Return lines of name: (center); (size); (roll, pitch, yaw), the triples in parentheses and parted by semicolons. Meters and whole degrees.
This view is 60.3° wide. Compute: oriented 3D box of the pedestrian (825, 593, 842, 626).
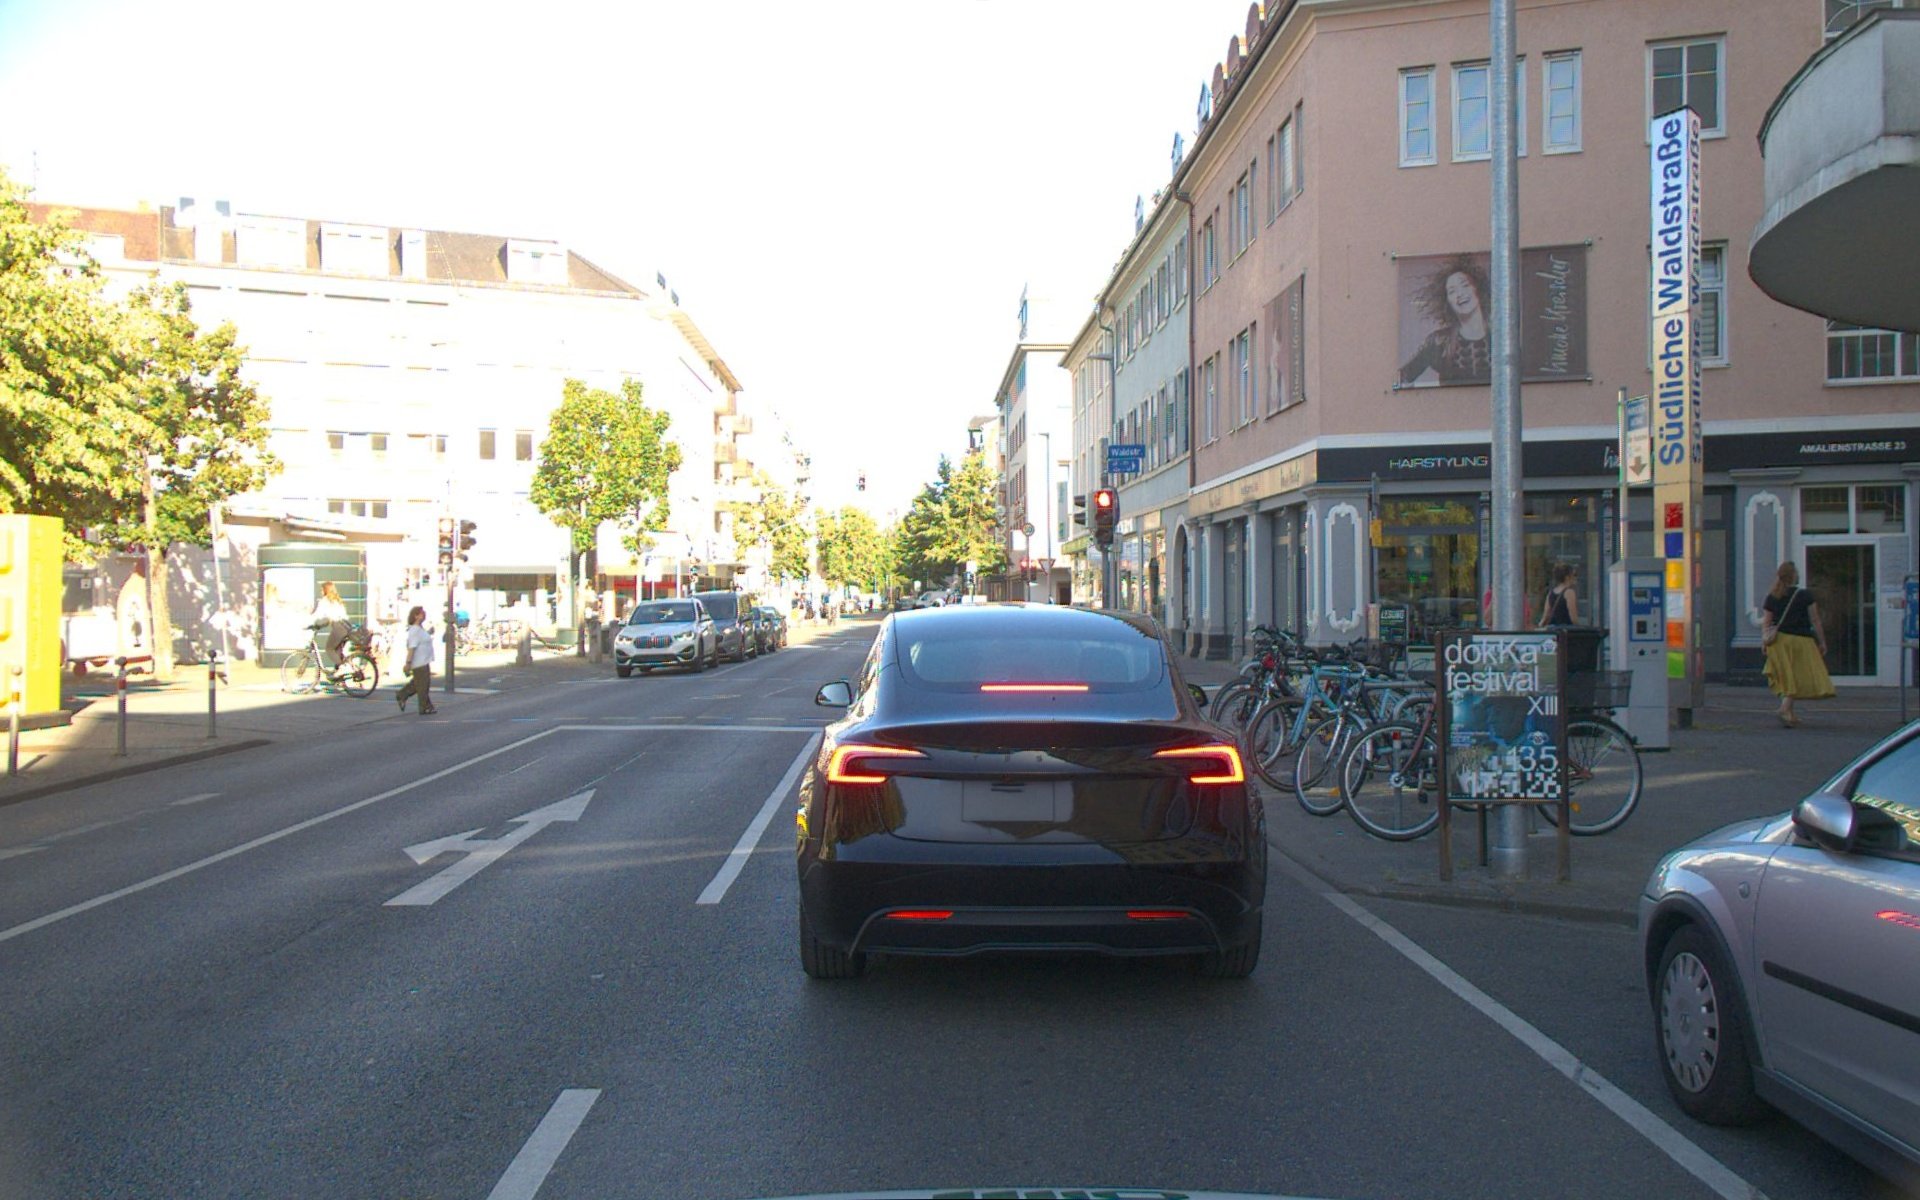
pedestrian: (-7.293, 0.552, 95.586); (0.762, 1.900, 1.004); (1, -1, -18)

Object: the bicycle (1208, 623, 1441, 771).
bicycle: (2.981, 0.783, 13.629); (1.776, 1.172, 0.653); (0, 0, 0)

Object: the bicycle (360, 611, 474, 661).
bicycle: (-13.948, 0.927, 42.575); (2.607, 1.216, 0.942); (1, 0, -4)

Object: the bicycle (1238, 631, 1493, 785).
bicycle: (3.052, 0.805, 12.556); (1.776, 1.121, 0.653); (0, 0, 0)

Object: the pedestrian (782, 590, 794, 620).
pedestrian: (-10.767, 0.317, 103.704); (0.681, 1.900, 0.658); (1, -1, -6)

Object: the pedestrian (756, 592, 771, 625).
pedestrian: (-11.516, 0.484, 96.766); (0.721, 1.900, 0.787); (1, -1, -17)

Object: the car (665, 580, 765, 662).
car: (-6.229, 0.508, 42.554); (1.906, 1.981, 4.819); (0, 0, -1)

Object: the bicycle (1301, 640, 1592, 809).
bicycle: (3.253, 0.822, 11.152); (1.776, 1.078, 0.653); (0, 0, 0)

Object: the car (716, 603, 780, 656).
car: (-6.334, 0.856, 49.681); (1.431, 1.455, 3.605); (-3, 0, -1)

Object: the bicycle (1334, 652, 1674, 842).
bicycle: (3.282, 0.875, 10.081); (1.844, 1.062, 0.653); (-1, 0, 0)

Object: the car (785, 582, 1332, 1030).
car: (0.302, 0.700, 7.761); (1.812, 1.472, 4.450); (1, 0, -1)

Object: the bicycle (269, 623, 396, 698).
bicycle: (-10.402, 0.991, 27.440); (1.912, 1.178, 0.576); (1, 0, 8)

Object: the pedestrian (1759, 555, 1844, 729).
pedestrian: (8.925, 0.437, 17.535); (0.707, 1.785, 0.786); (-3, -1, 29)

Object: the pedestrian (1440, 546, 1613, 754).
pedestrian: (5.031, 0.425, 14.698); (1.054, 1.750, 1.095); (1, -1, -44)

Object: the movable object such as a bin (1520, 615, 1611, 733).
movable object such as a bin: (6.045, 0.729, 16.531); (0.623, 1.122, 0.728); (-2, 0, 3)

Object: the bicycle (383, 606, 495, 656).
bicycle: (-14.122, 0.846, 44.912); (2.725, 1.296, 0.932); (1, 0, -4)

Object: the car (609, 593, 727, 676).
car: (-6.321, 0.712, 36.226); (1.788, 1.592, 4.299); (-4, 0, -1)

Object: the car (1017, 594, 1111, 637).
car: (4.713, 0.705, 74.730); (3.937, 1.900, 1.686); (0, 0, -22)

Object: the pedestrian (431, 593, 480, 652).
pedestrian: (-14.142, 0.627, 46.337); (1.244, 1.639, 1.089); (1, -1, -21)

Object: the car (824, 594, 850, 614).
car: (-12.347, 0.401, 166.251); (2.365, 2.004, 4.677); (0, 0, -1)

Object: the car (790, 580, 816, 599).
car: (-17.021, -1.124, 179.395); (2.228, 2.049, 4.717); (1, 0, 0)

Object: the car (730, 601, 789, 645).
car: (-6.823, 0.767, 56.625); (1.660, 1.414, 3.914); (-1, 0, -3)

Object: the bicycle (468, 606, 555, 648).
bicycle: (-14.060, 0.853, 51.906); (2.491, 1.273, 0.942); (1, 0, -4)

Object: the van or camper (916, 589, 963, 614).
van or camper: (-2.071, 0.176, 167.509); (4.752, 2.481, 1.850); (0, 0, -1)

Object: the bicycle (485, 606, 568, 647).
bicycle: (-14.226, 0.860, 54.328); (2.491, 1.273, 0.942); (1, 0, -4)

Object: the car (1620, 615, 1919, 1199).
car: (2.924, 0.781, 3.527); (1.551, 1.451, 3.579); (1, 0, -1)

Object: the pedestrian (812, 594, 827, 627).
pedestrian: (-8.134, 0.629, 95.721); (0.684, 1.900, 0.905); (1, -1, -17)

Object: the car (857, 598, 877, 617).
car: (-10.505, 0.835, 186.955); (2.089, 2.004, 4.133); (0, 0, -1)

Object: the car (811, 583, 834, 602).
car: (-15.605, -0.811, 188.051); (2.228, 2.049, 4.717); (1, 0, 0)

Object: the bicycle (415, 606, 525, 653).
bicycle: (-13.998, 0.833, 47.313); (2.818, 1.292, 0.942); (1, 0, -4)

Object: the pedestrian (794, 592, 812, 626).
pedestrian: (-8.985, 0.518, 94.581); (0.719, 1.900, 0.790); (1, -1, 28)

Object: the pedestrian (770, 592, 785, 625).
pedestrian: (-10.722, 0.498, 96.938); (0.721, 1.900, 0.787); (1, -1, -17)

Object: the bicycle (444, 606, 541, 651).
bicycle: (-14.008, 0.848, 49.632); (2.609, 1.281, 0.942); (1, 0, -4)

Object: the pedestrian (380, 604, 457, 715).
pedestrian: (-7.816, 0.849, 23.897); (0.904, 1.570, 0.694); (1, -1, -6)

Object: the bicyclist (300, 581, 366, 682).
bicyclist: (-10.394, 0.512, 27.445); (0.808, 1.642, 0.580); (1, 0, 9)

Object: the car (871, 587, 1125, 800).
car: (0.246, 0.686, 14.185); (1.812, 1.507, 4.450); (1, 0, -1)

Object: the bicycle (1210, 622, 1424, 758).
bicycle: (3.165, 0.792, 14.766); (1.776, 1.172, 0.653); (0, 0, 0)

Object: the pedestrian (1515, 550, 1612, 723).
pedestrian: (6.840, 0.412, 18.775); (0.667, 1.882, 0.893); (-3, -1, 1)
